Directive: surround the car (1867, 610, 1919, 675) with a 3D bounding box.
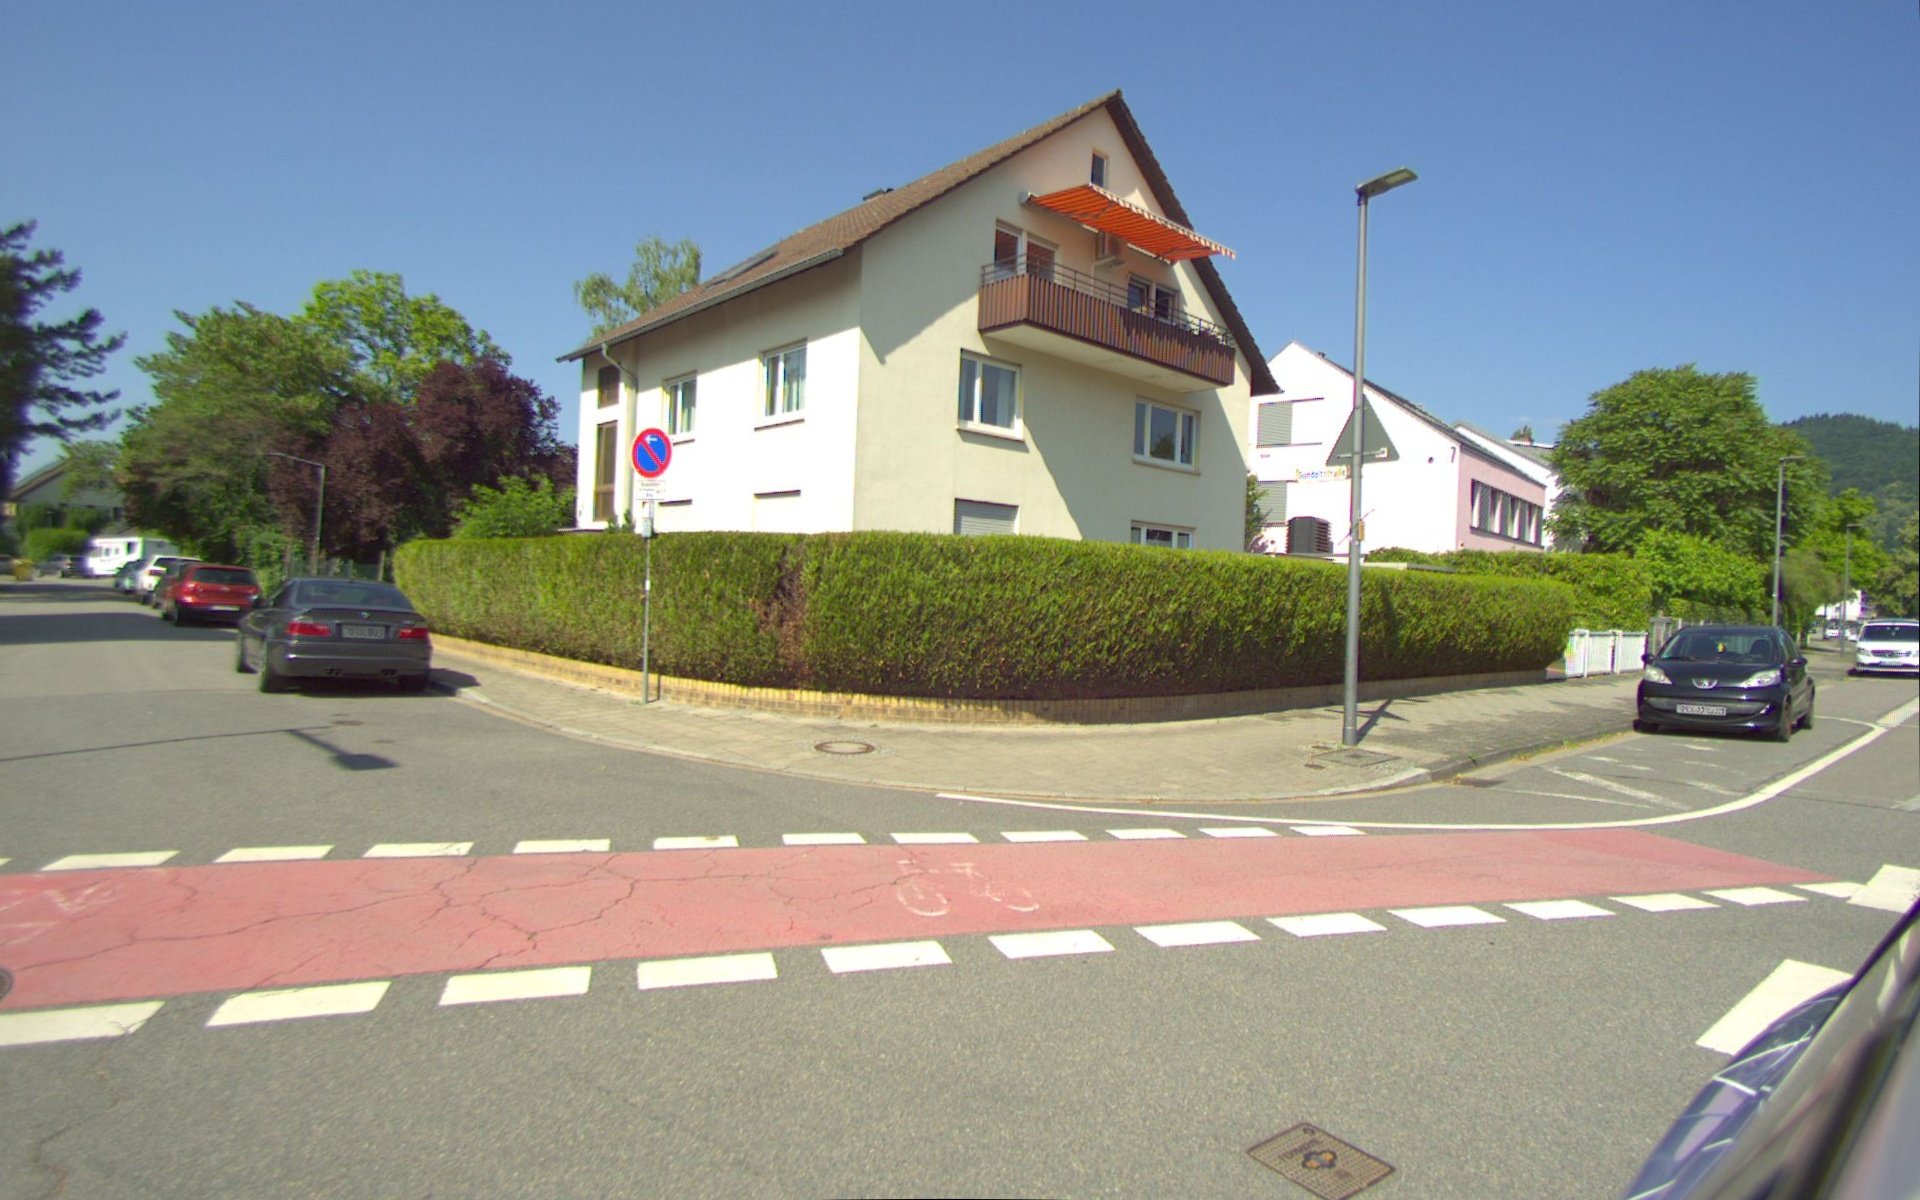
[{"bbox_3d":[29.255,1.248,31.127,1.763,1.850,4.524,-1,-1,45],"label":"car"}]

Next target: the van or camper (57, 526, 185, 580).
[{"bbox_3d":[-56.797,-3.142,68.401,10.460,3.423,3.112,1,1,29],"label":"van or camper"}]

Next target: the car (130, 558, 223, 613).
[{"bbox_3d":[-23.703,-0.466,30.556,1.884,1.524,3.993,2,1,-42],"label":"car"}]

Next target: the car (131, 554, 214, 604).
[{"bbox_3d":[-26.926,-0.721,34.563,1.884,1.576,3.993,2,1,-42],"label":"car"}]

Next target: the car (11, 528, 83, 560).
[{"bbox_3d":[-70.329,-4.304,77.942,5.699,2.318,2.584,1,1,31],"label":"car"}]

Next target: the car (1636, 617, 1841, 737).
[{"bbox_3d":[10.937,0.967,14.116,3.932,1.408,1.618,0,-2,-43],"label":"car"}]

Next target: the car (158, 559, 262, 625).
[{"bbox_3d":[-18.402,-0.225,24.775,1.620,1.474,3.993,2,1,-42],"label":"car"}]

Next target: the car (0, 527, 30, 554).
[{"bbox_3d":[-77.672,-4.816,81.536,5.699,2.039,2.584,1,1,31],"label":"car"}]

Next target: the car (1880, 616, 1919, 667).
[{"bbox_3d":[32.901,1.412,34.728,1.763,1.613,4.243,2,0,45],"label":"car"}]

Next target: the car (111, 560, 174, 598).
[{"bbox_3d":[-35.759,-0.942,44.227,1.884,1.524,3.993,2,1,-42],"label":"car"}]

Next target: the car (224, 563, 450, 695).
[{"bbox_3d":[-8.187,0.306,13.128,1.779,1.416,4.123,5,-1,-41],"label":"car"}]
